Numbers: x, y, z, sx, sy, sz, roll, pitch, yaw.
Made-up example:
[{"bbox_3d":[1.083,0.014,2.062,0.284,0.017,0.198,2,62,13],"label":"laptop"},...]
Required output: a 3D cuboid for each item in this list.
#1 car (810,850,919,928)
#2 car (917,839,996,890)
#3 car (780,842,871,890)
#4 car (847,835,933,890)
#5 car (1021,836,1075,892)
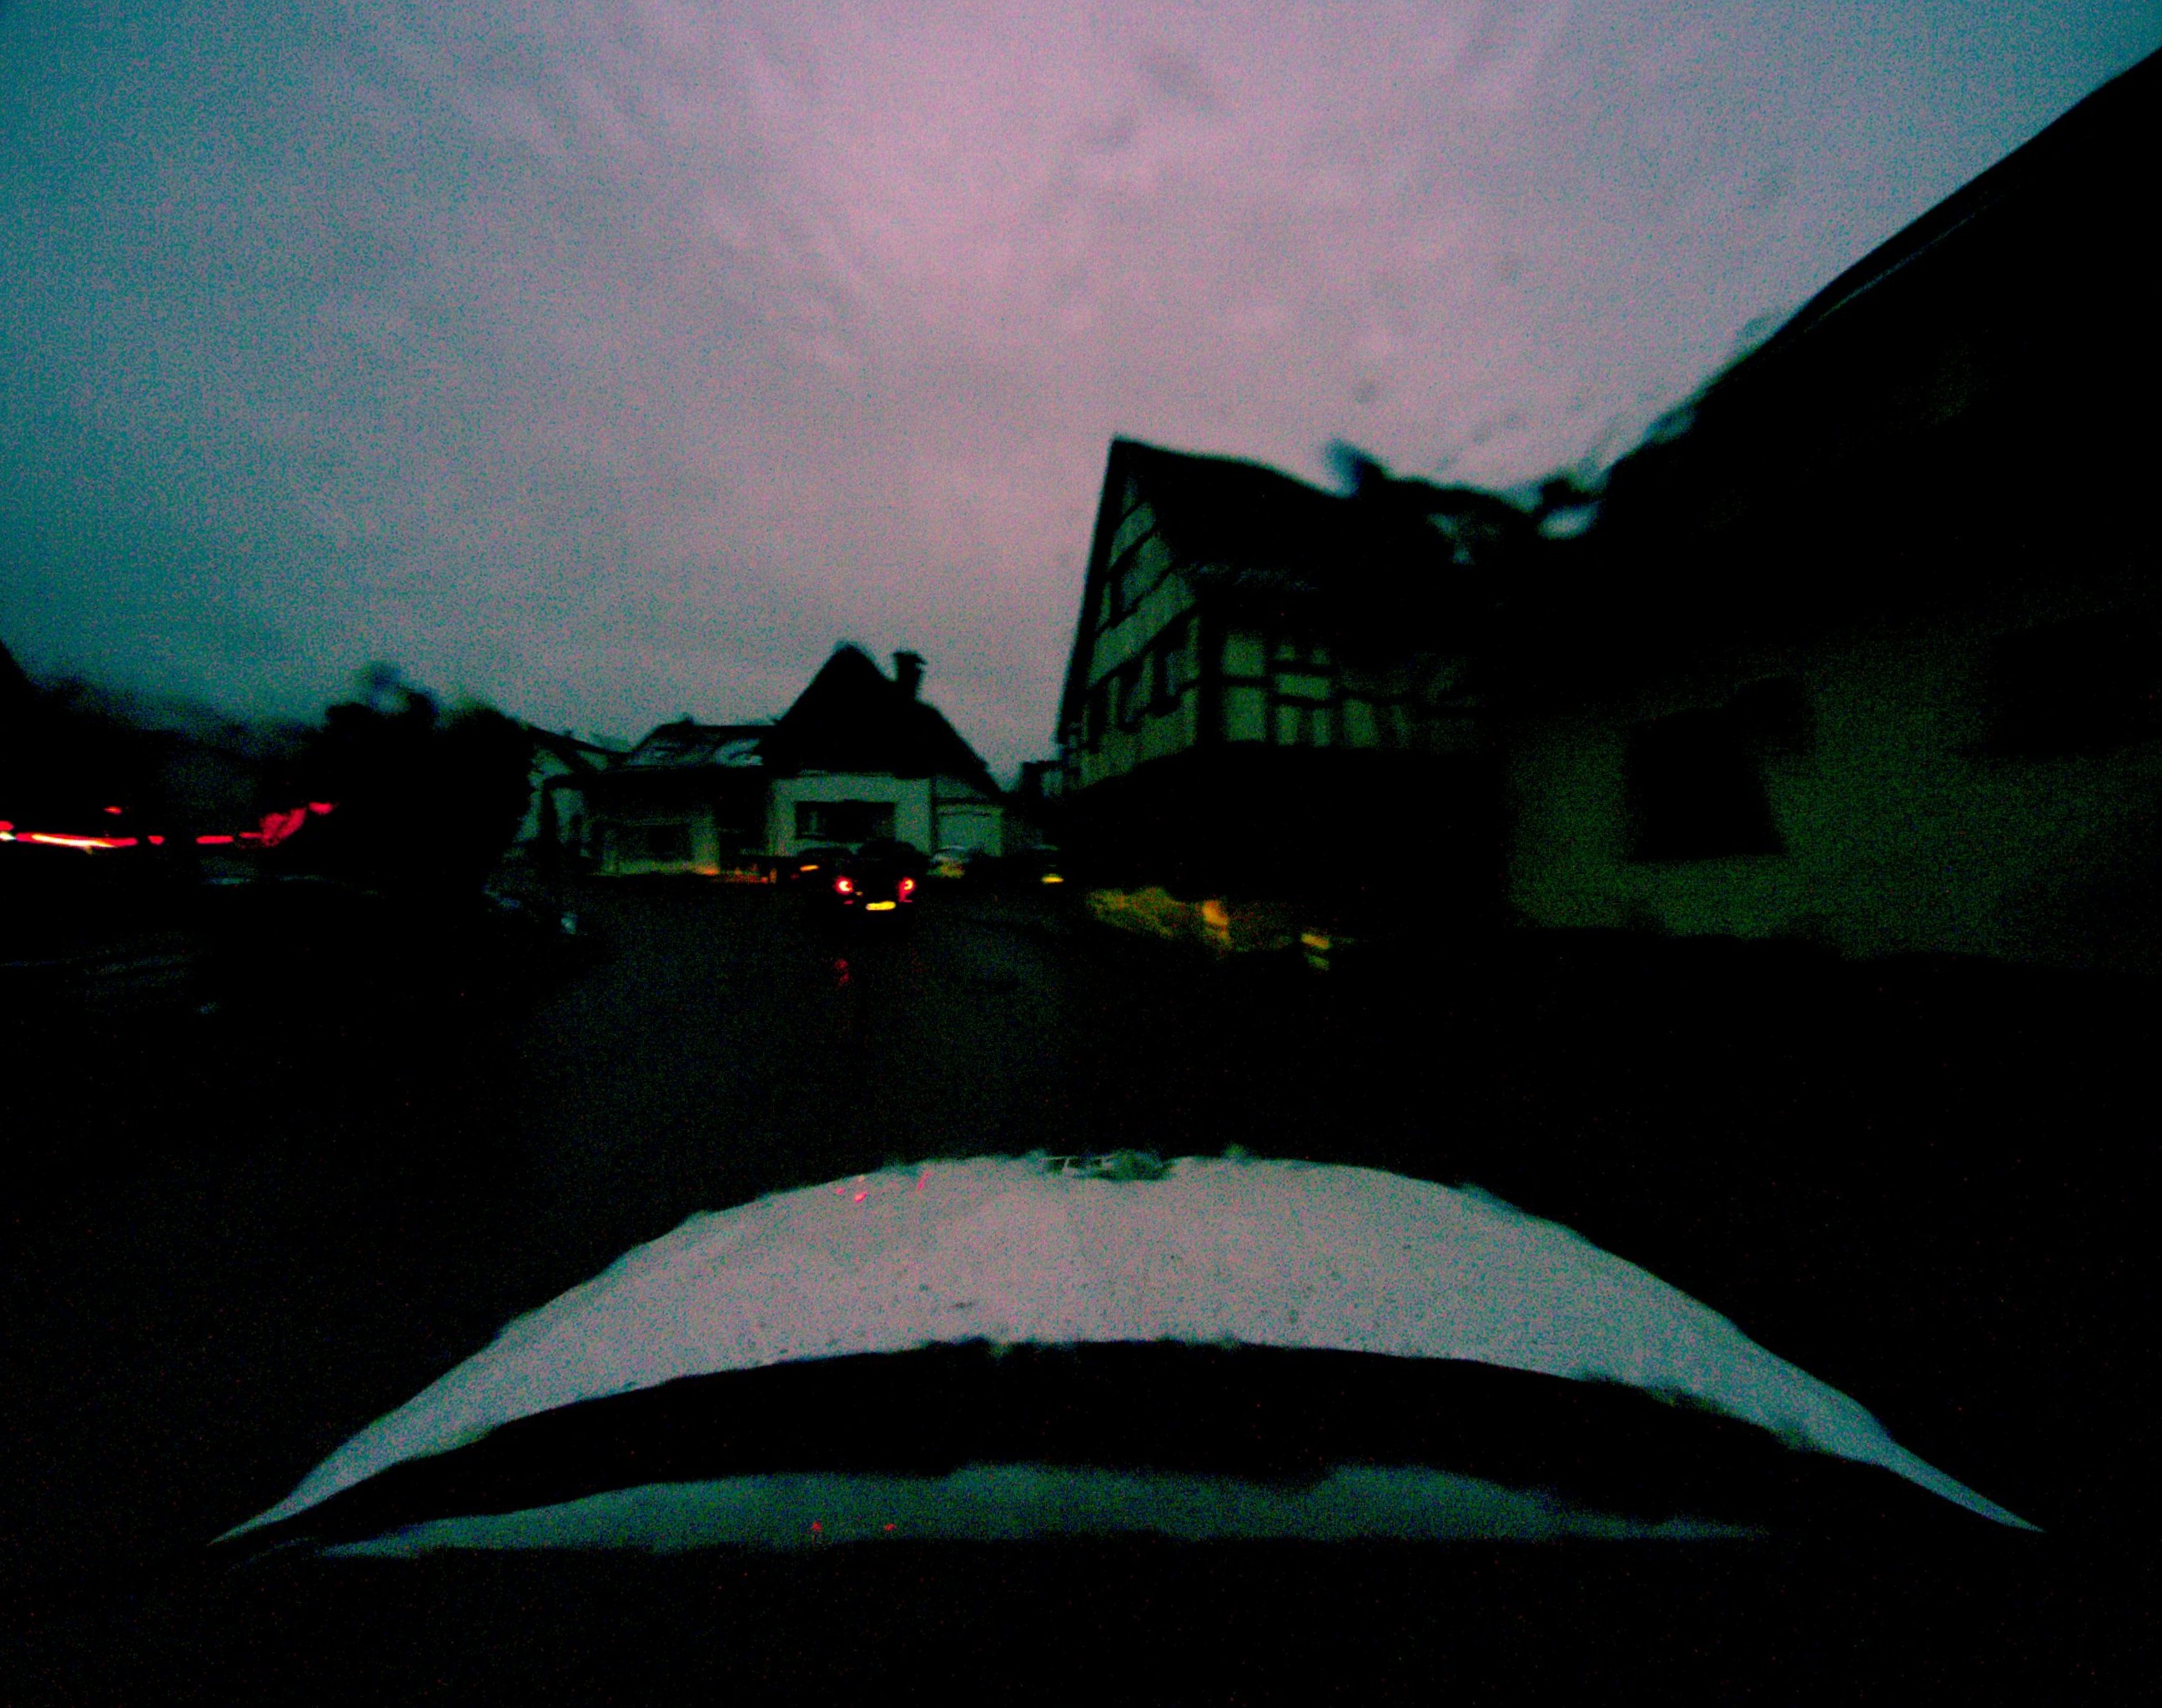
[{"bbox_3d":[-4.696,0.666,17.368,1.554,1.466,3.667,1,0,-26],"label":"car"},{"bbox_3d":[-4.326,0.316,28.849,1.801,1.420,4.045,-2,4,5],"label":"car"},{"bbox_3d":[-9.563,0.392,30.849,1.874,1.449,3.900,-2,4,5],"label":"car"},{"bbox_3d":[-7.036,0.240,30.481,1.841,1.660,4.482,-2,4,3],"label":"car"},{"bbox_3d":[-1.089,0.252,27.258,1.588,1.515,3.983,-3,4,-2],"label":"car"}]
